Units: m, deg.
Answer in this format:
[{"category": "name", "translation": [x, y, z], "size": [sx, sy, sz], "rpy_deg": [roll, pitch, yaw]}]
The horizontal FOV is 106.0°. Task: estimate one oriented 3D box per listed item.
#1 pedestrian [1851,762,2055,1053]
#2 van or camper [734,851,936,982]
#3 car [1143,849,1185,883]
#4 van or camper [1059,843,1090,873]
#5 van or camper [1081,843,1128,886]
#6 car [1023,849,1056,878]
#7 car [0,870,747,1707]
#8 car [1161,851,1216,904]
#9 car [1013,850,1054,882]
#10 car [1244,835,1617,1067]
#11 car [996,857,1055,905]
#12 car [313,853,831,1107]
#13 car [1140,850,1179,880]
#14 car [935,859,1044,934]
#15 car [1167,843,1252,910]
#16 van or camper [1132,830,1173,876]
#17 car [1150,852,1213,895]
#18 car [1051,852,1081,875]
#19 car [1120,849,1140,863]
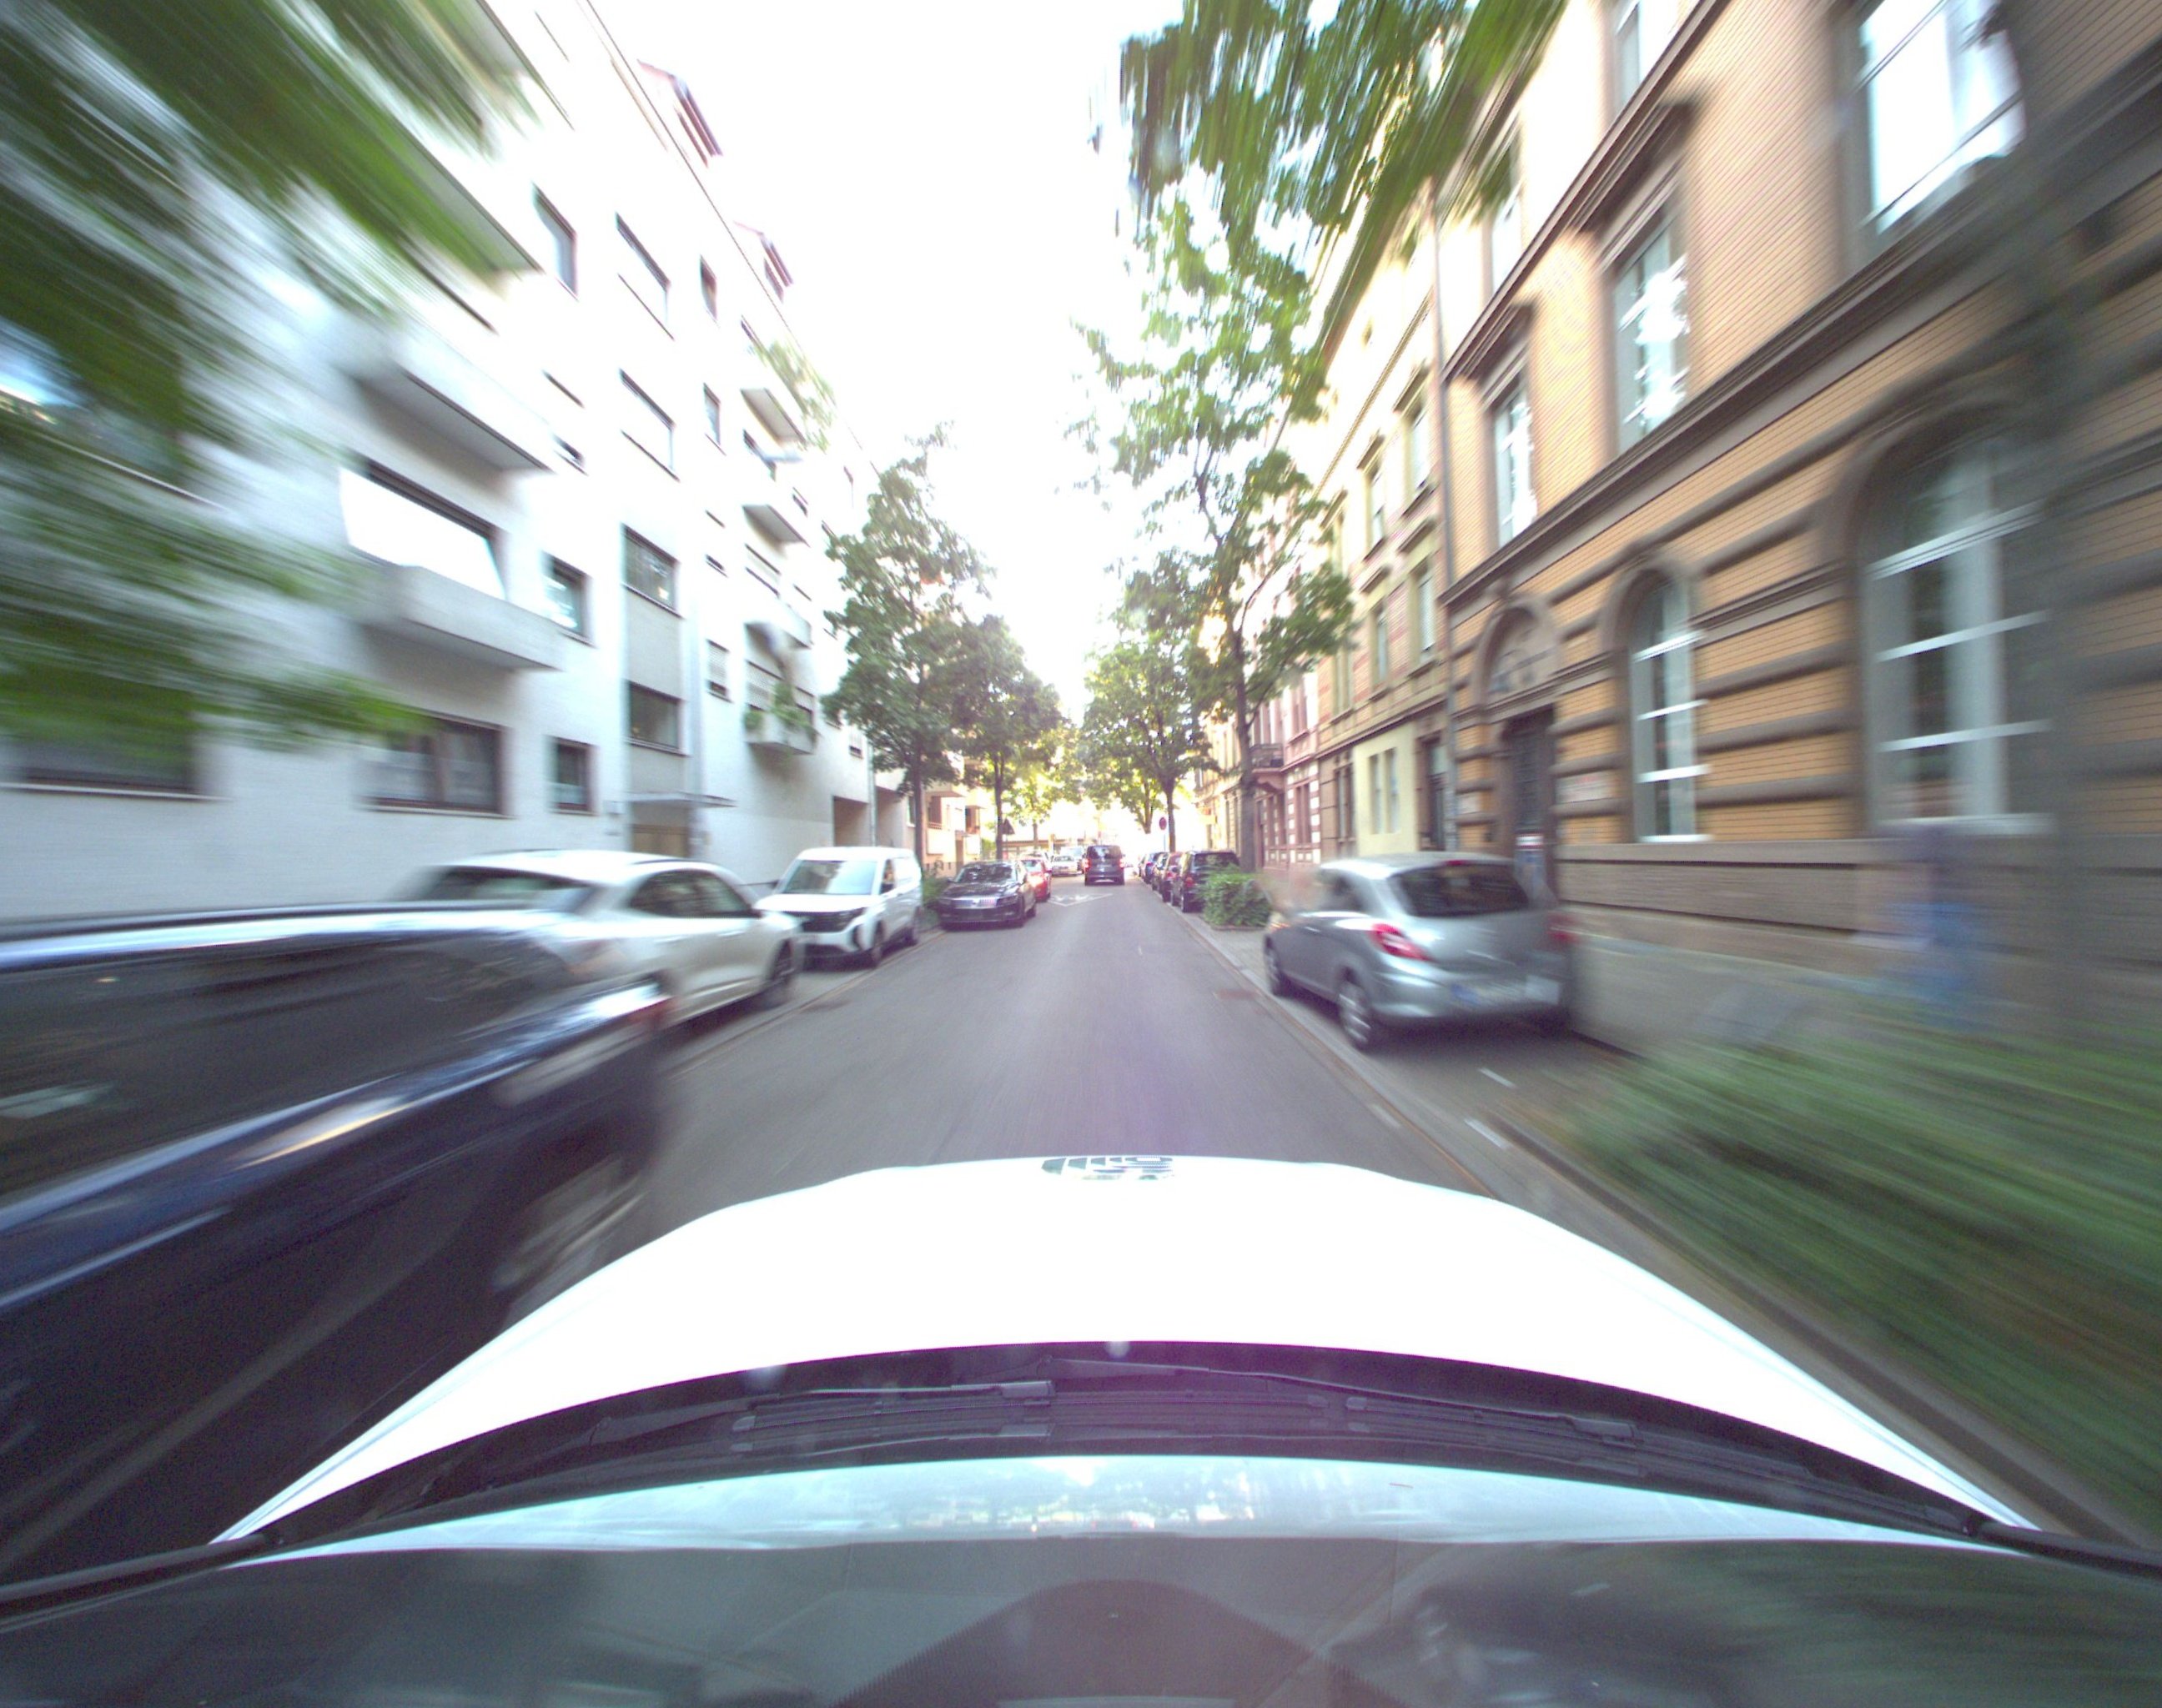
[{"category": "pedestrian", "translation": [5.260, 0.307, 4.944], "size": [0.624, 1.648, 0.532], "rpy_deg": [-2, 0, 2]}, {"category": "van or camper", "translation": [-3.819, 0.860, 13.558], "size": [1.924, 1.760, 4.466], "rpy_deg": [1, 1, 1]}, {"category": "car", "translation": [3.894, 0.541, 38.829], "size": [1.743, 1.471, 3.778], "rpy_deg": [-2, 0, 2]}, {"category": "van or camper", "translation": [-0.459, 0.262, 58.913], "size": [1.854, 1.983, 4.275], "rpy_deg": [-3, 0, 3]}, {"category": "van or camper", "translation": [1.176, 0.468, 39.059], "size": [2.026, 1.897, 4.275], "rpy_deg": [-2, 0, 4]}, {"category": "car", "translation": [-2.513, 0.552, 50.125], "size": [1.735, 1.712, 3.376], "rpy_deg": [-1, 0, 2]}, {"category": "car", "translation": [-2.552, 0.876, 1.543], "size": [1.824, 1.517, 4.517], "rpy_deg": [-3, 0, 1]}, {"category": "car", "translation": [3.390, 0.704, 26.104], "size": [1.543, 1.496, 3.615], "rpy_deg": [-2, 0, 5]}, {"category": "car", "translation": [-2.615, 0.639, 45.299], "size": [1.890, 1.637, 4.158], "rpy_deg": [-1, 0, 2]}, {"category": "car", "translation": [2.825, 0.669, 7.641], "size": [1.692, 1.482, 3.999], "rpy_deg": [-4, 0, 0]}, {"category": "car", "translation": [-1.805, 0.858, 27.526], "size": [1.624, 1.430, 3.543], "rpy_deg": [-3, 0, 1]}, {"category": "car", "translation": [-4.202, 0.863, 7.901], "size": [2.027, 1.672, 4.649], "rpy_deg": [1, 1, 1]}, {"category": "car", "translation": [4.215, 0.551, 44.082], "size": [1.744, 1.471, 3.777], "rpy_deg": [-2, 0, 1]}, {"category": "car", "translation": [-2.008, 0.893, 19.226], "size": [1.839, 1.451, 4.505], "rpy_deg": [-2, 0, 2]}, {"category": "car", "translation": [3.346, 0.532, 21.803], "size": [1.606, 1.559, 3.766], "rpy_deg": [-3, 0, 0]}, {"category": "van or camper", "translation": [4.305, -0.060, 49.807], "size": [1.987, 2.599, 5.424], "rpy_deg": [-2, 0, 1]}, {"category": "car", "translation": [3.628, 0.655, 29.948], "size": [1.710, 1.403, 3.812], "rpy_deg": [-3, 0, -1]}, {"category": "car", "translation": [-0.952, 0.613, 53.819], "size": [1.735, 1.404, 3.376], "rpy_deg": [-3, 0, 2]}, {"category": "car", "translation": [6.178, 0.231, 101.585], "size": [1.783, 1.578, 3.762], "rpy_deg": [-2, 0, 14]}]
